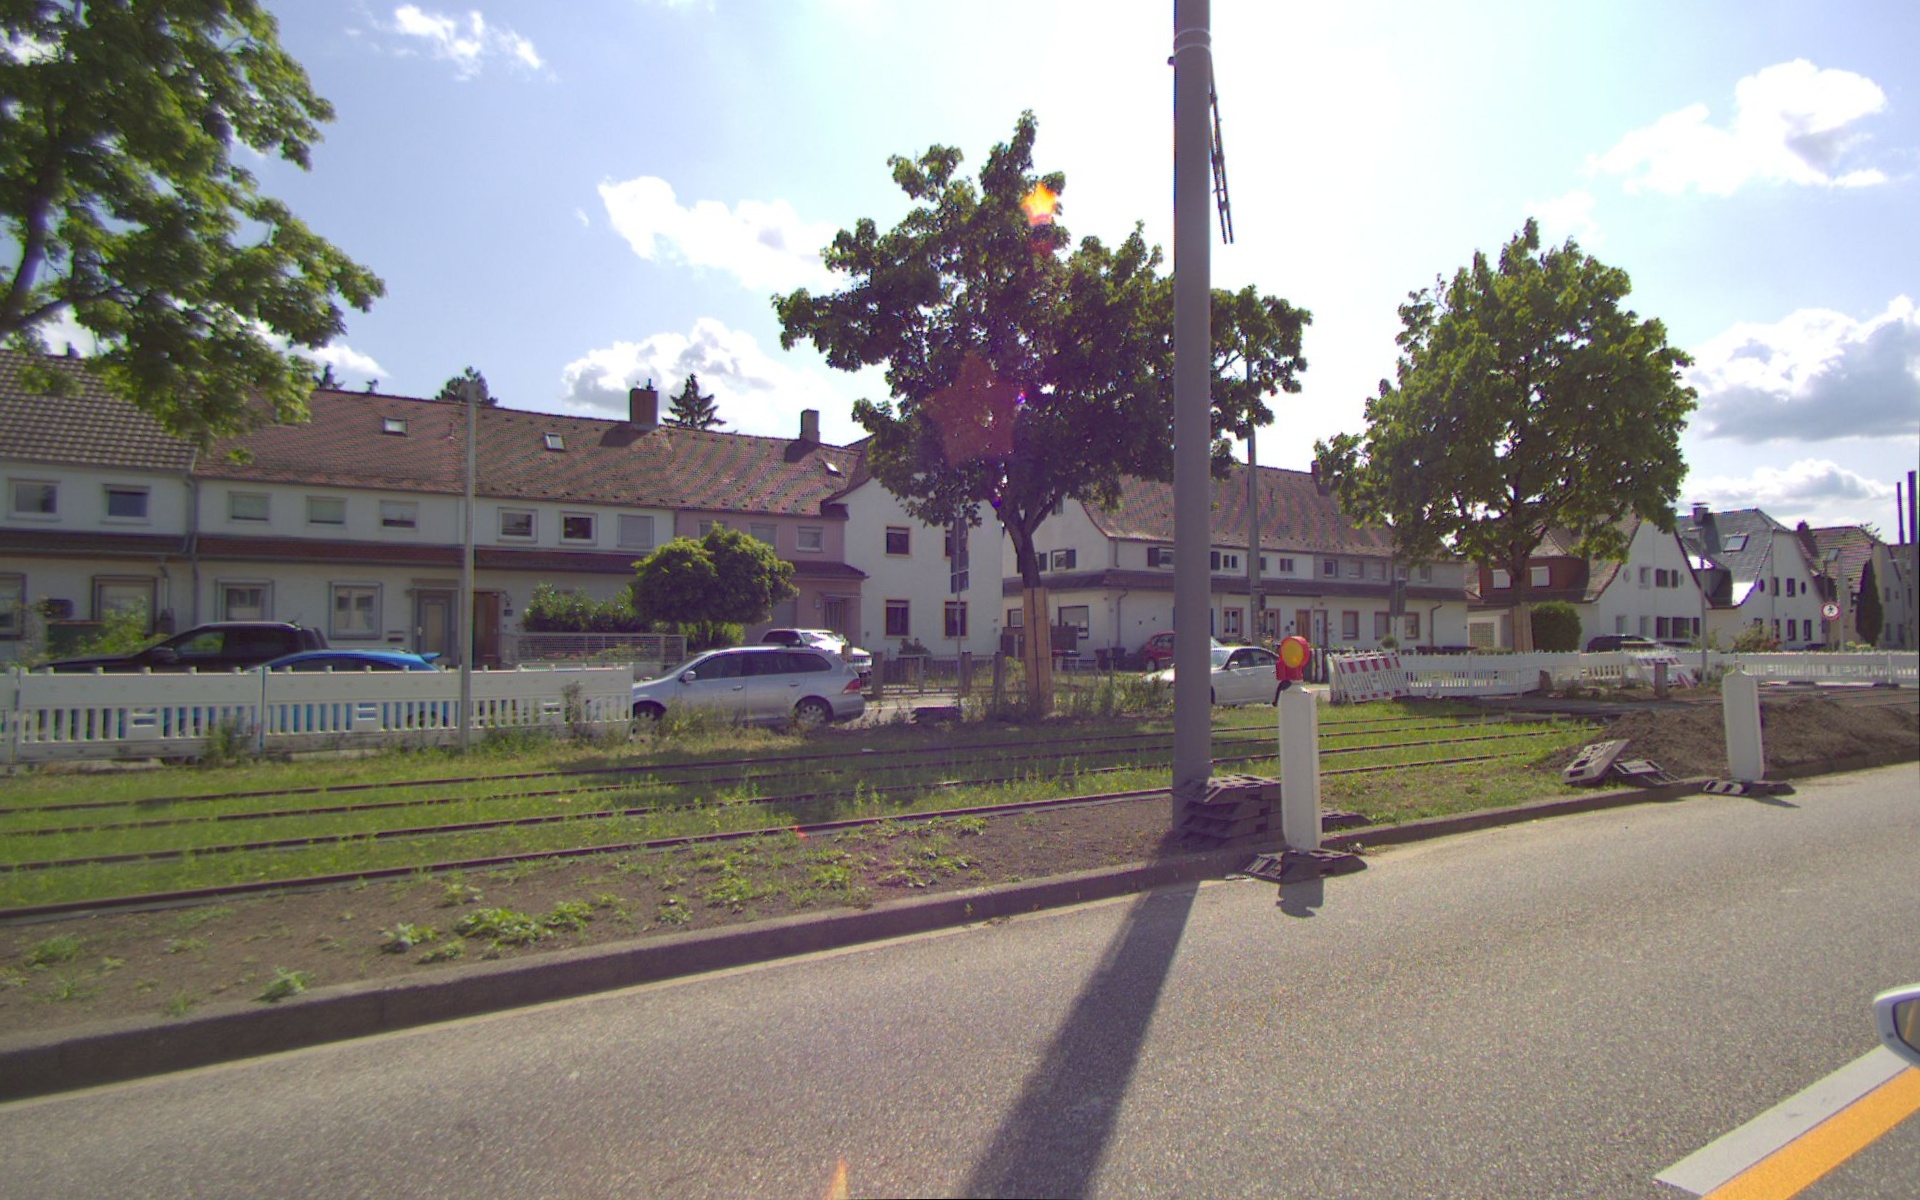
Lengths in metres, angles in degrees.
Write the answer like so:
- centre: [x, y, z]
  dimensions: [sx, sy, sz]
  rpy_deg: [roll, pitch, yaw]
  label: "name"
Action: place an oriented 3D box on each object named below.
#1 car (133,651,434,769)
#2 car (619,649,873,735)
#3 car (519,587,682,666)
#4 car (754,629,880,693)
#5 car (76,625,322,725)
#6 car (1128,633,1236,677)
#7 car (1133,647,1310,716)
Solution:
- centre: [-8.757, 1.366, 13.233]
  dimensions: [3.137, 1.342, 1.332]
  rpy_deg: [1, -3, -33]
  label: "car"
- centre: [-3.371, 1.399, 16.029]
  dimensions: [3.705, 1.192, 1.495]
  rpy_deg: [1, -3, -31]
  label: "car"
- centre: [-10.026, 0.759, 28.069]
  dimensions: [3.955, 2.040, 1.983]
  rpy_deg: [2, -1, -32]
  label: "car"
- centre: [-4.456, 1.822, 30.874]
  dimensions: [1.785, 1.708, 4.369]
  rpy_deg: [2, -1, -40]
  label: "car"
- centre: [-12.395, 1.190, 16.584]
  dimensions: [3.058, 1.515, 1.349]
  rpy_deg: [1, -3, -31]
  label: "car"
- centre: [8.251, 2.039, 37.664]
  dimensions: [1.706, 1.529, 3.966]
  rpy_deg: [1, -3, -31]
  label: "car"
- centre: [5.895, 1.751, 22.436]
  dimensions: [4.212, 1.394, 1.530]
  rpy_deg: [2, -3, -37]
  label: "car"
